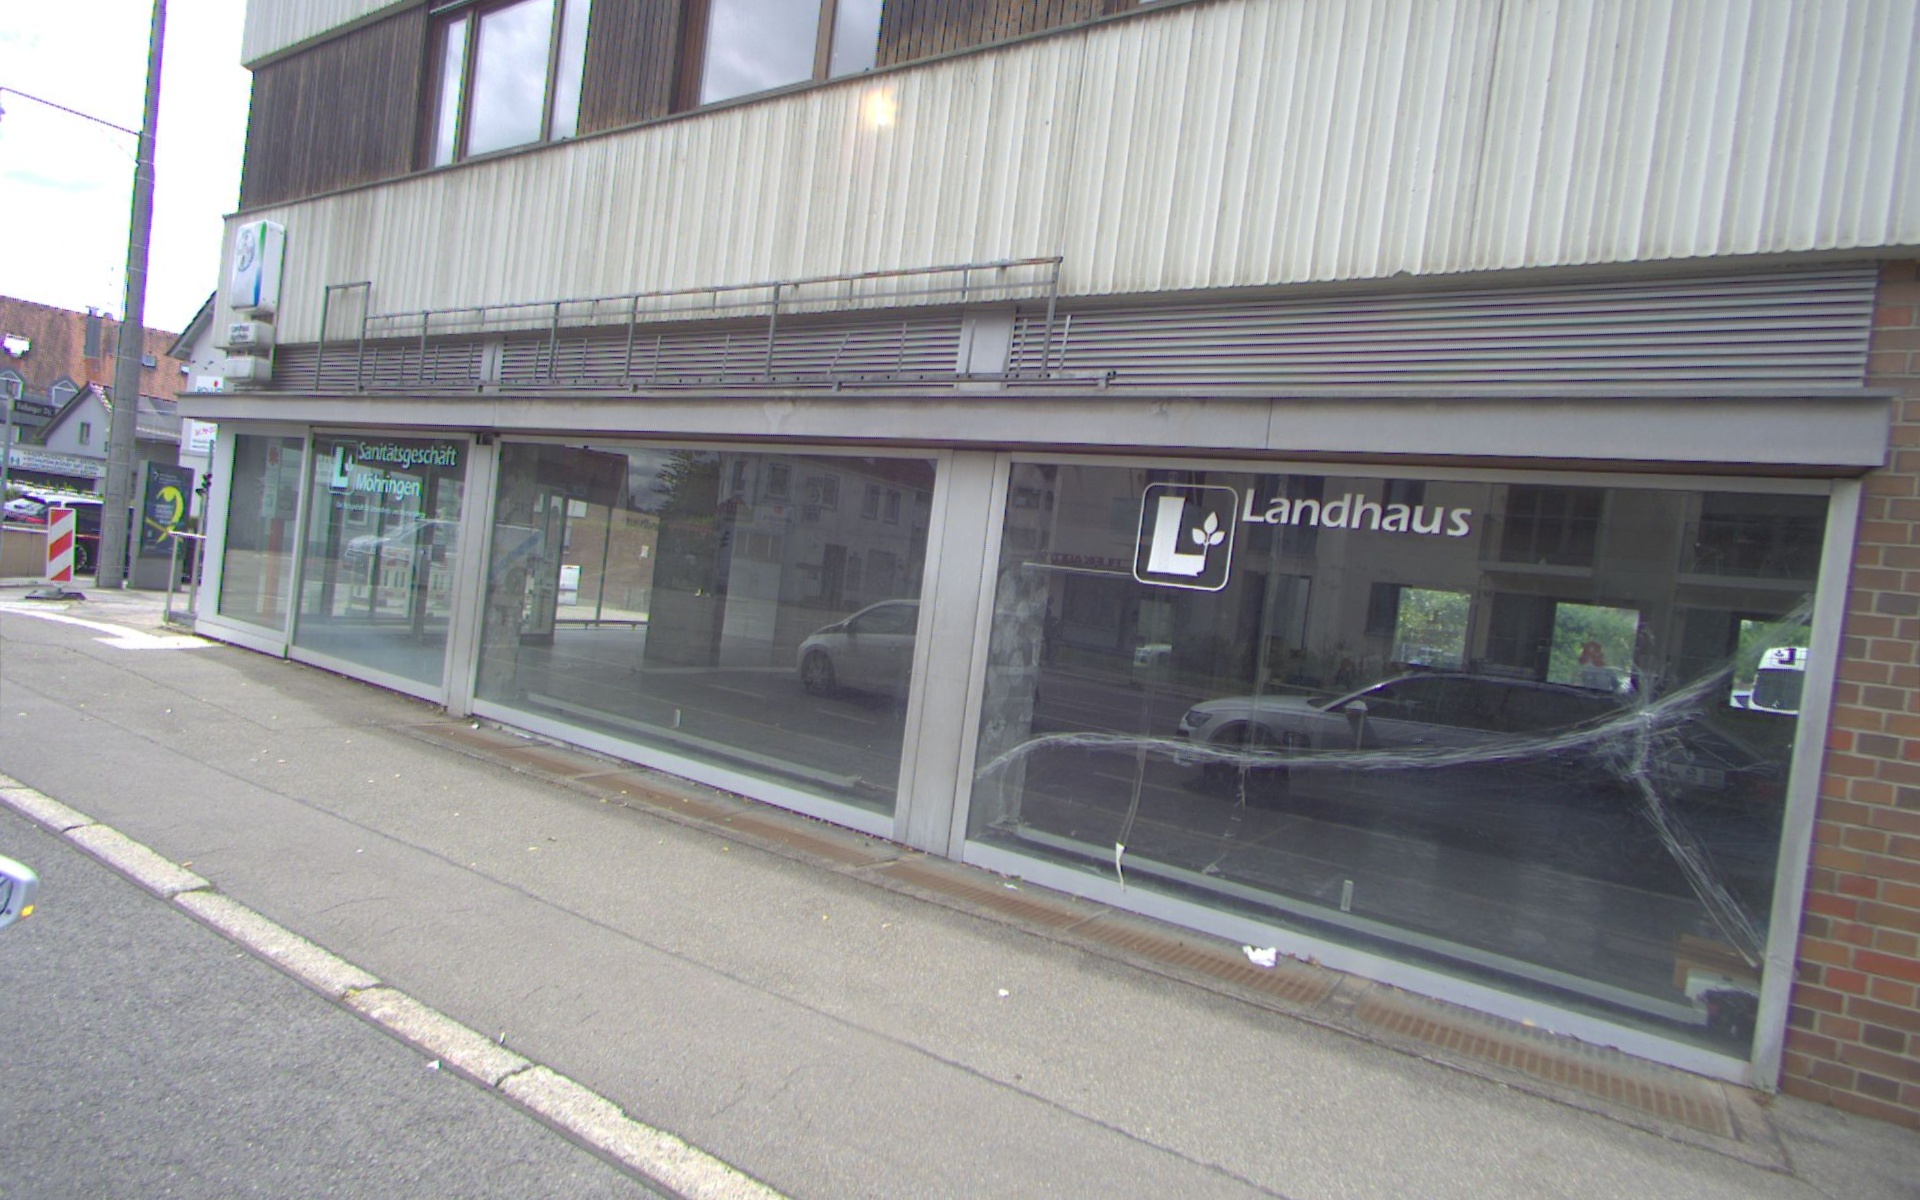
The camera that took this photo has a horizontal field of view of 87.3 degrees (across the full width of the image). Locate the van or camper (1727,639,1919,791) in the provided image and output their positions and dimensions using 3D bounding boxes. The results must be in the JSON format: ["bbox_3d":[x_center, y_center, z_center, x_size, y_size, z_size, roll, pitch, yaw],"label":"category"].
[{"bbox_3d":[18.984,2.423,20.048,5.409,2.574,2.058,7,1,4],"label":"van or camper"}]

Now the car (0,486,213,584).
[{"bbox_3d":[-20.819,-1.539,23.850,1.964,1.764,4.511,9,1,23],"label":"car"}]
